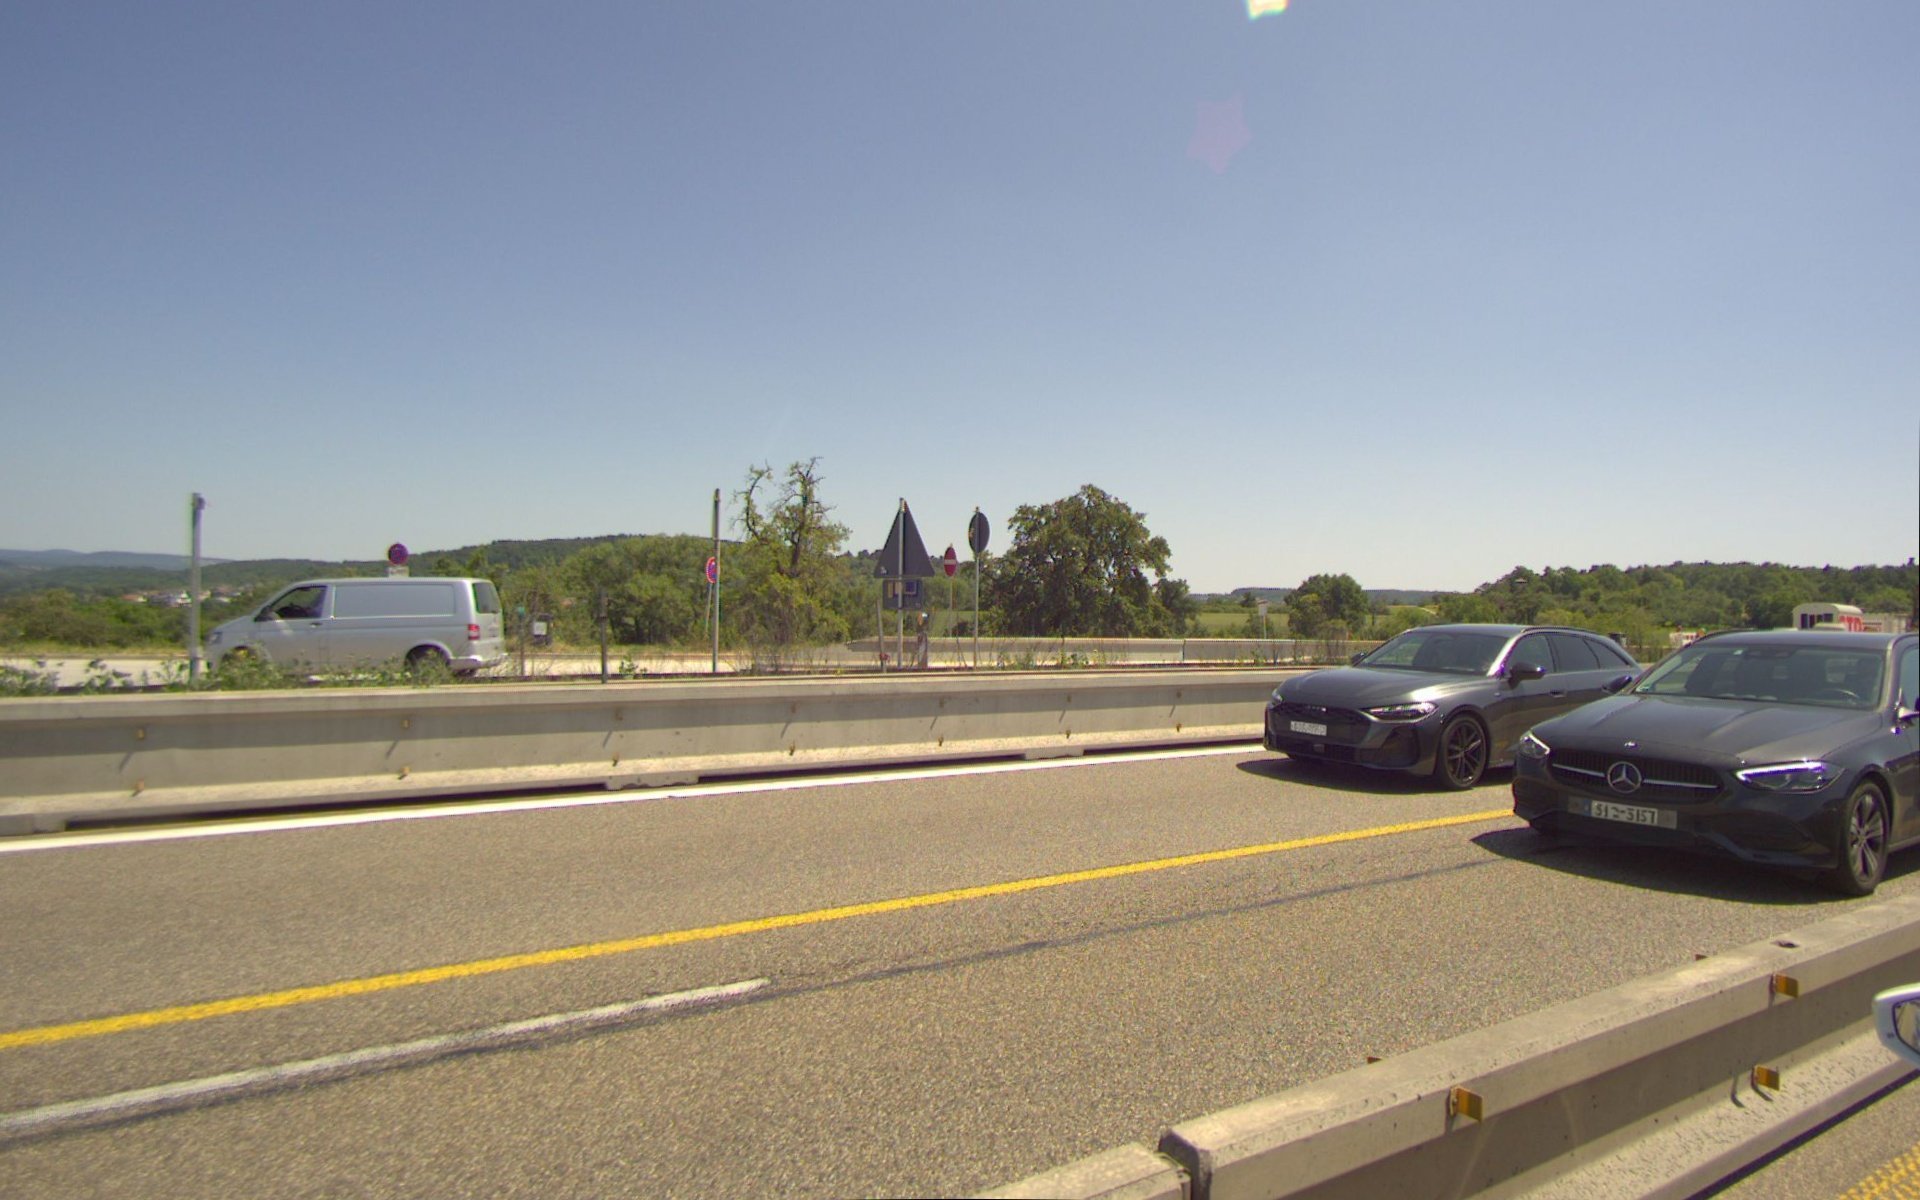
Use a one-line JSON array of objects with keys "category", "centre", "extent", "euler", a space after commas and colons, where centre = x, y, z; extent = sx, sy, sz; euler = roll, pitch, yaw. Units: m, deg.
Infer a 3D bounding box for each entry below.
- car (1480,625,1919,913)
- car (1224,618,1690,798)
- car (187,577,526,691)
[{"category": "car", "centre": [5.912, 0.908, 7.056], "extent": [4.713, 1.446, 1.766], "euler": [1, -1, -30]}, {"category": "car", "centre": [5.085, 0.938, 10.183], "extent": [4.523, 1.417, 1.985], "euler": [1, 0, -28]}, {"category": "car", "centre": [-10.960, 0.577, 18.643], "extent": [5.002, 1.967, 1.920], "euler": [0, 0, -10]}]
